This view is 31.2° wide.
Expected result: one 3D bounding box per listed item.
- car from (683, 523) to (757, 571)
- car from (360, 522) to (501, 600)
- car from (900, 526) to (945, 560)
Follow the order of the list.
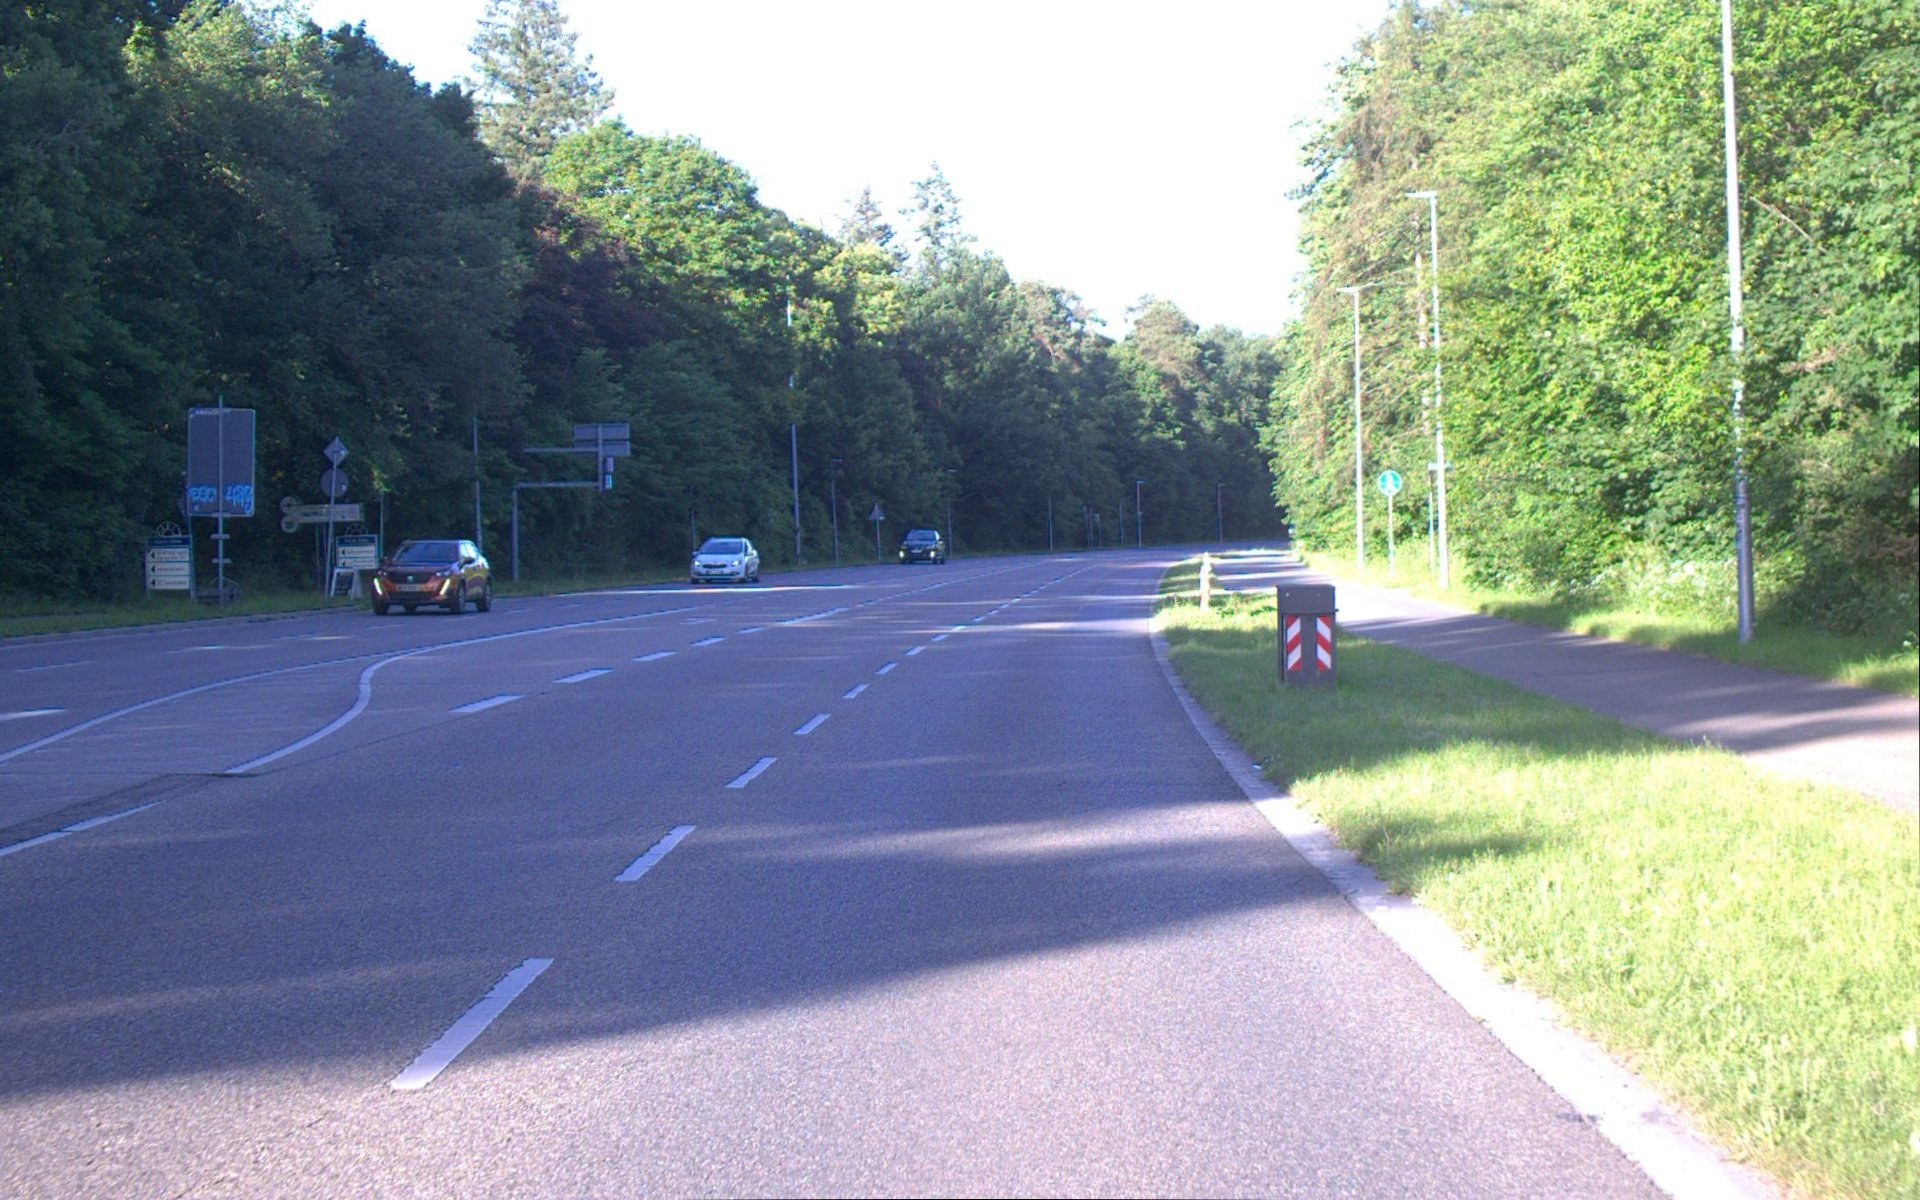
[{"bbox_3d":[-7.762,-1.736,111.487,1.825,1.499,4.306,0,1,4],"label":"car"},{"bbox_3d":[-10.743,-0.816,69.995,1.825,1.539,4.256,0,1,6],"label":"car"},{"bbox_3d":[-1.774,-2.761,165.723,1.825,1.584,4.351,0,1,4],"label":"car"}]
